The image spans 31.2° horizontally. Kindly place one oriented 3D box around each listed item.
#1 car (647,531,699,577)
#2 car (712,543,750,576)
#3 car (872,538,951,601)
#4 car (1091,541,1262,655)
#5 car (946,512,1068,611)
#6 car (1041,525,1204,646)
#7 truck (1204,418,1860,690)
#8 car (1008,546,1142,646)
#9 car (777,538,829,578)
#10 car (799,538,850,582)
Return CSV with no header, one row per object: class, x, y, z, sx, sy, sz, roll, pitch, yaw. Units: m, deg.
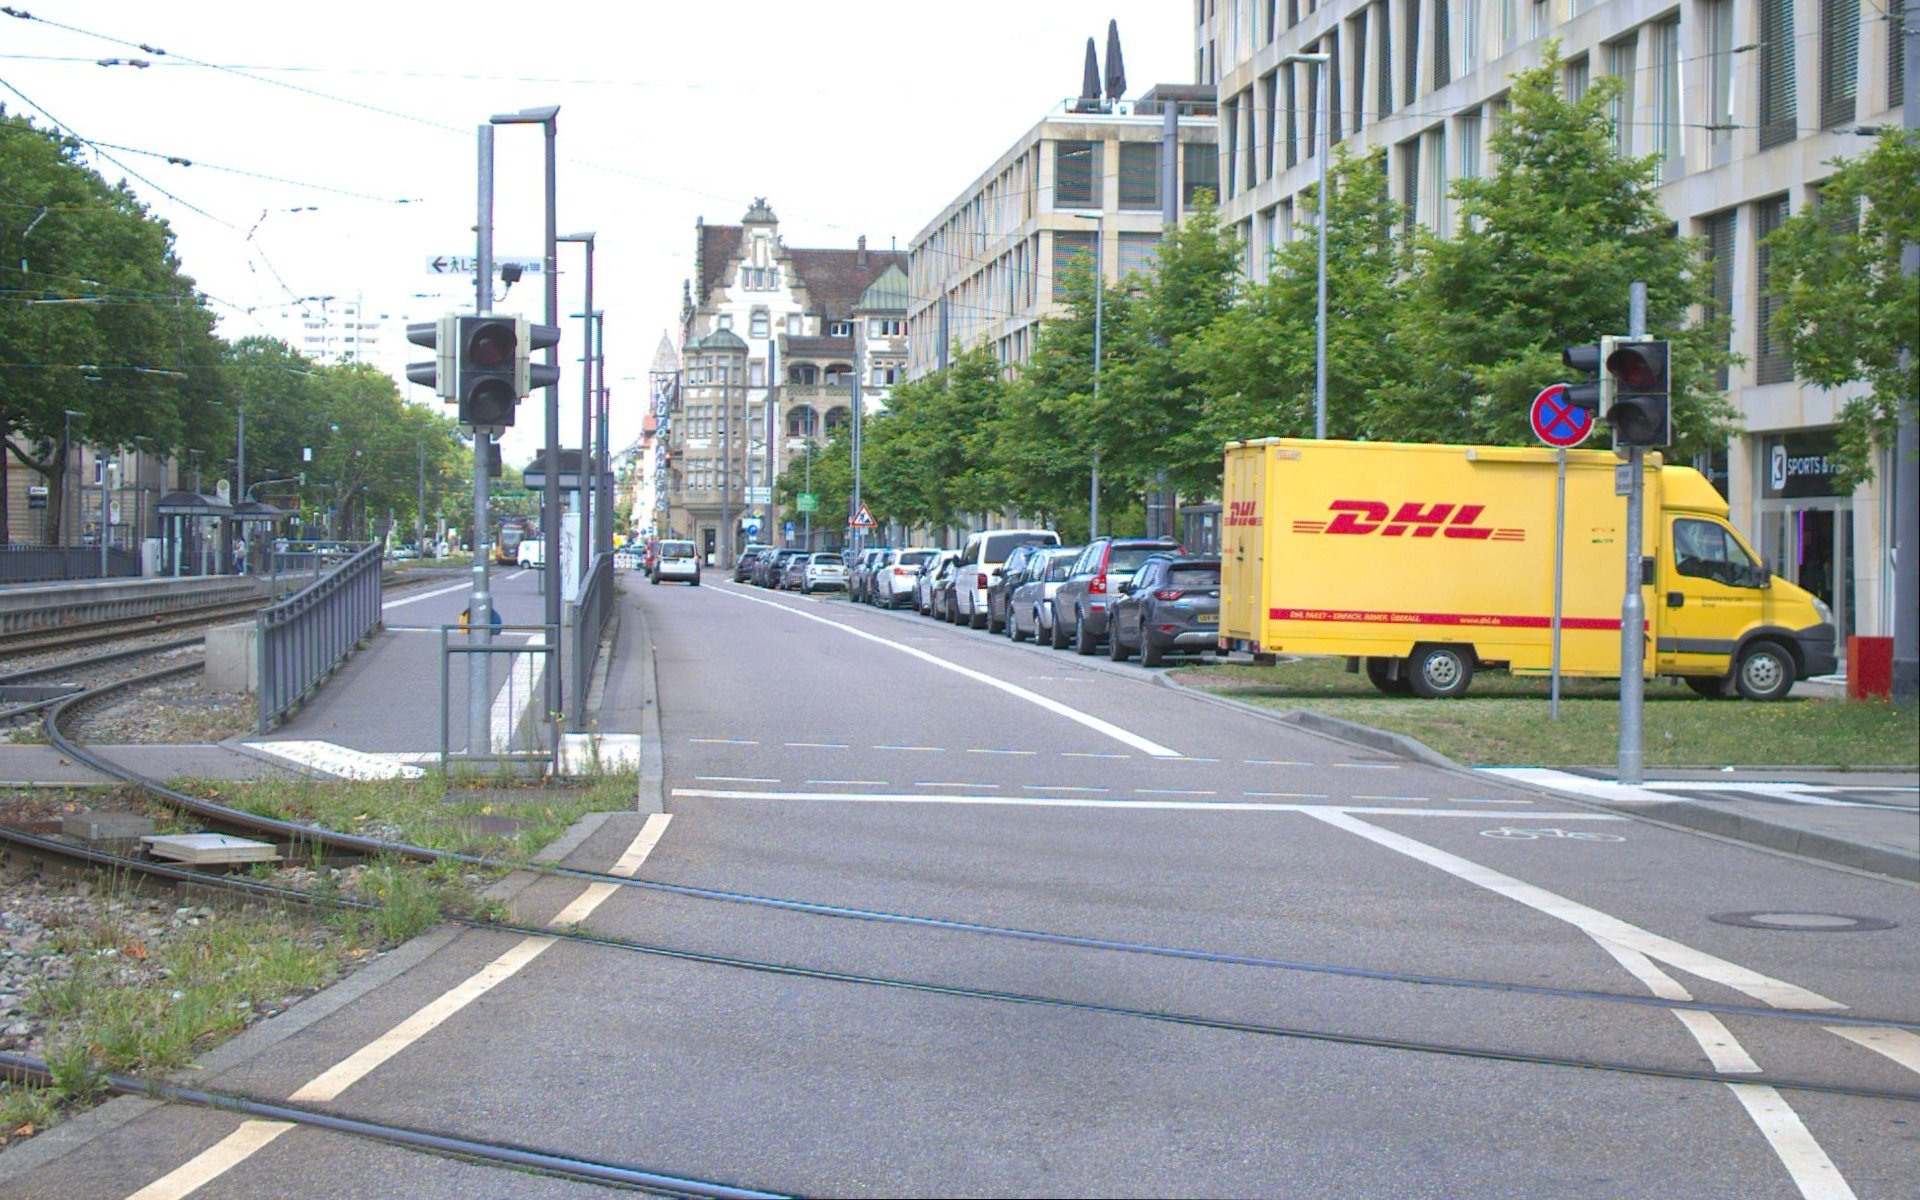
car,-11.522,-1.828,137.812,1.868,1.740,4.001,2,1,-7
car,-10.678,-1.903,160.401,1.442,1.465,4.093,-1,1,-8
car,-1.308,-0.811,90.304,1.685,1.600,4.153,0,1,-6
car,2.964,-0.055,47.781,1.691,1.499,4.069,1,1,-6
car,0.912,-0.788,69.552,1.881,1.932,4.844,0,1,-6
car,2.449,-0.248,52.956,1.768,1.761,4.841,1,1,-6
truck,6.356,-0.495,38.620,6.804,2.857,2.455,1,0,-8
car,1.914,-0.088,58.187,1.720,1.614,3.861,1,1,-6
car,-6.131,-1.651,134.111,1.591,1.429,4.108,3,1,-8
car,-4.853,-1.438,122.866,1.591,1.455,3.613,2,1,-5
